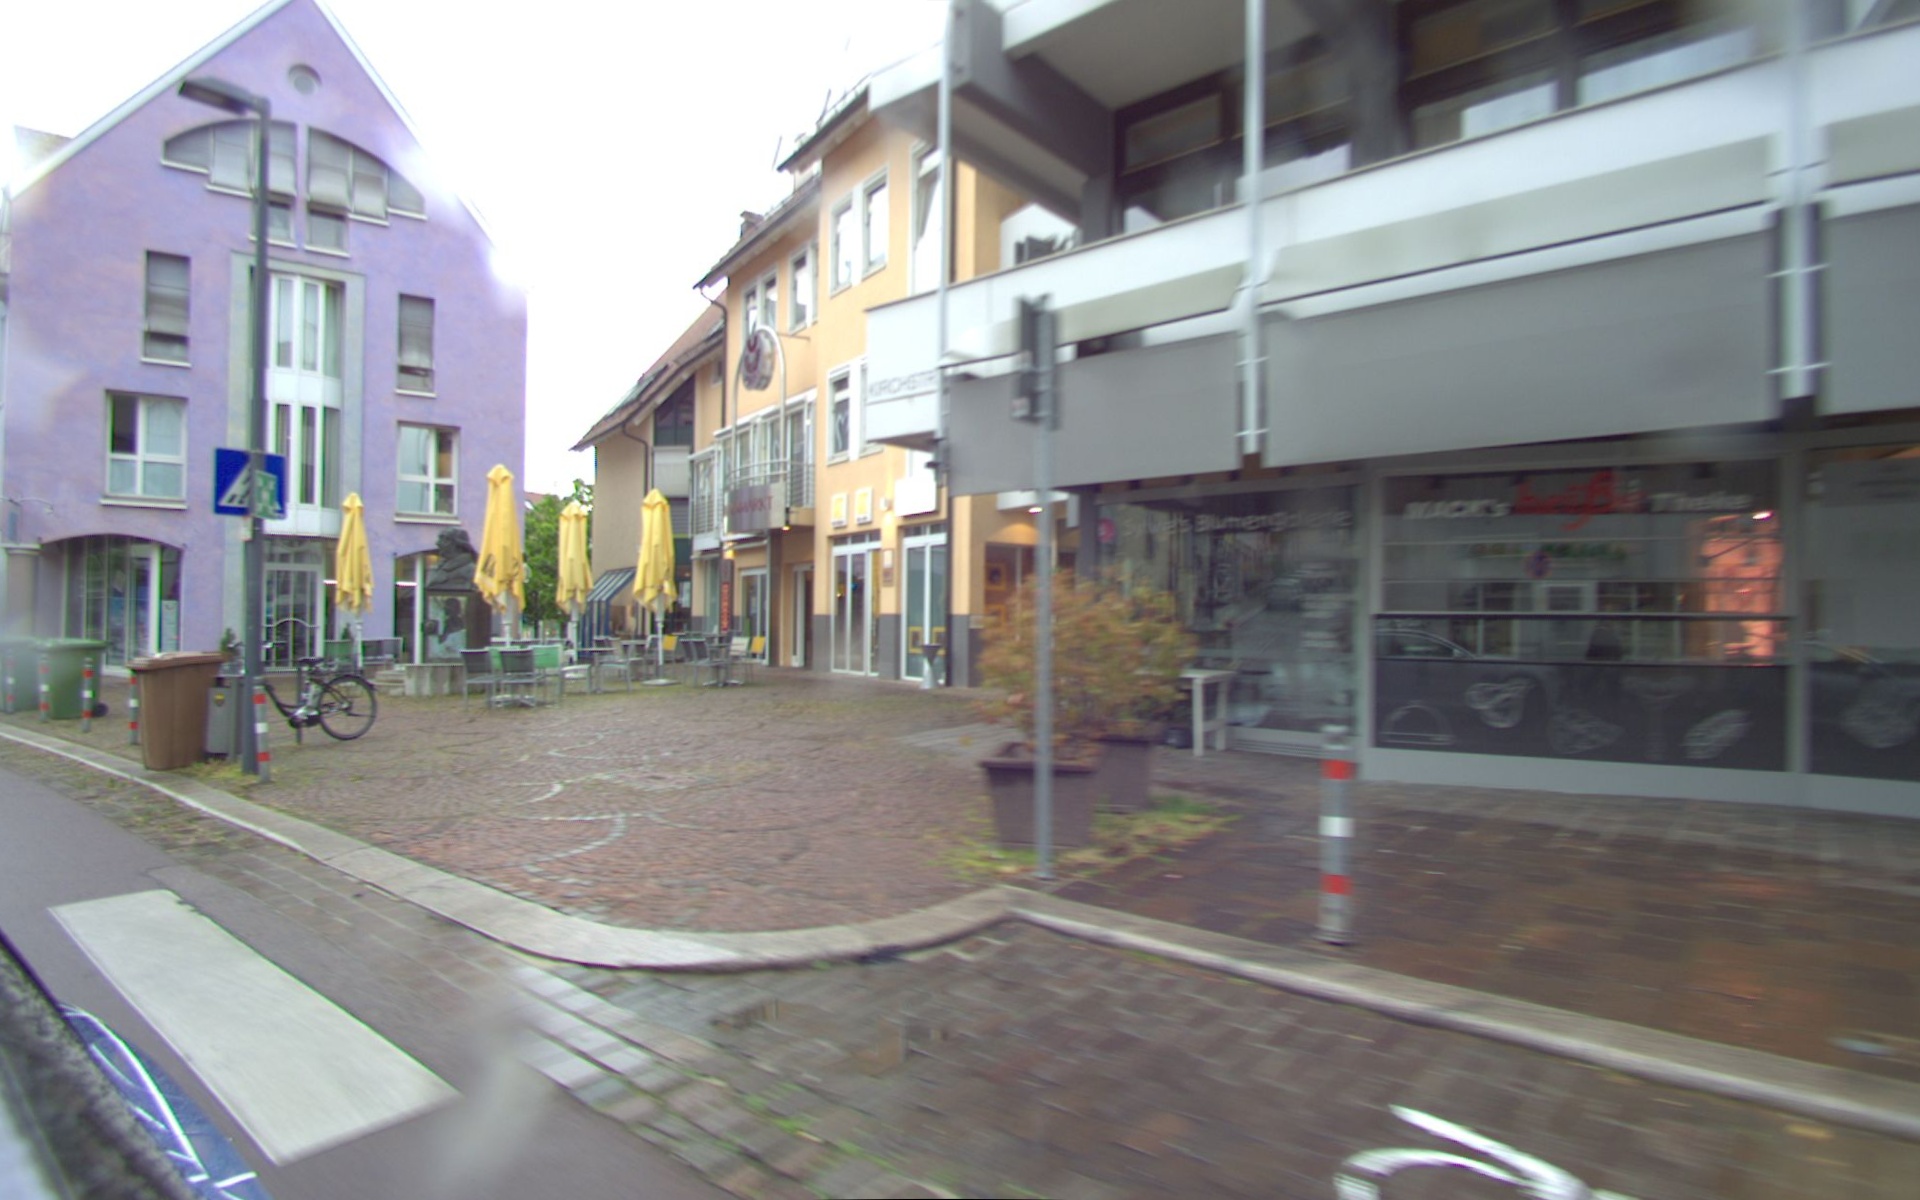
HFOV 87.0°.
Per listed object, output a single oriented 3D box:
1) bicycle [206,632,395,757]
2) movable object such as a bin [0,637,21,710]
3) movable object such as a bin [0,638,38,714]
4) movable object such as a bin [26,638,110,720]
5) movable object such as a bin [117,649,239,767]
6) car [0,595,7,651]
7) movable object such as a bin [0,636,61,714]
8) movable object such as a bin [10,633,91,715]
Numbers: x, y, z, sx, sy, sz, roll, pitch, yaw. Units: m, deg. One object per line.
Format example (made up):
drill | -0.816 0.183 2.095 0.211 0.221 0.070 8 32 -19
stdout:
bicycle | -6.974 0.955 10.804 0.441 1.173 1.739 2 0 21
movable object such as a bin | -15.161 1.146 15.718 0.667 1.114 0.681 0 -1 32
movable object such as a bin | -14.481 1.137 15.265 0.667 1.114 0.681 0 -1 32
movable object such as a bin | -12.122 1.056 13.761 0.667 1.050 0.681 0 -1 32
movable object such as a bin | -7.321 0.987 9.491 0.628 1.028 0.683 0 -1 23
car | -29.848 0.625 28.778 3.938 1.595 1.835 2 0 -43
movable object such as a bin | -13.731 1.086 14.823 0.667 1.082 0.681 0 -1 32
movable object such as a bin | -12.725 1.019 14.164 0.667 1.084 0.681 0 -1 32
